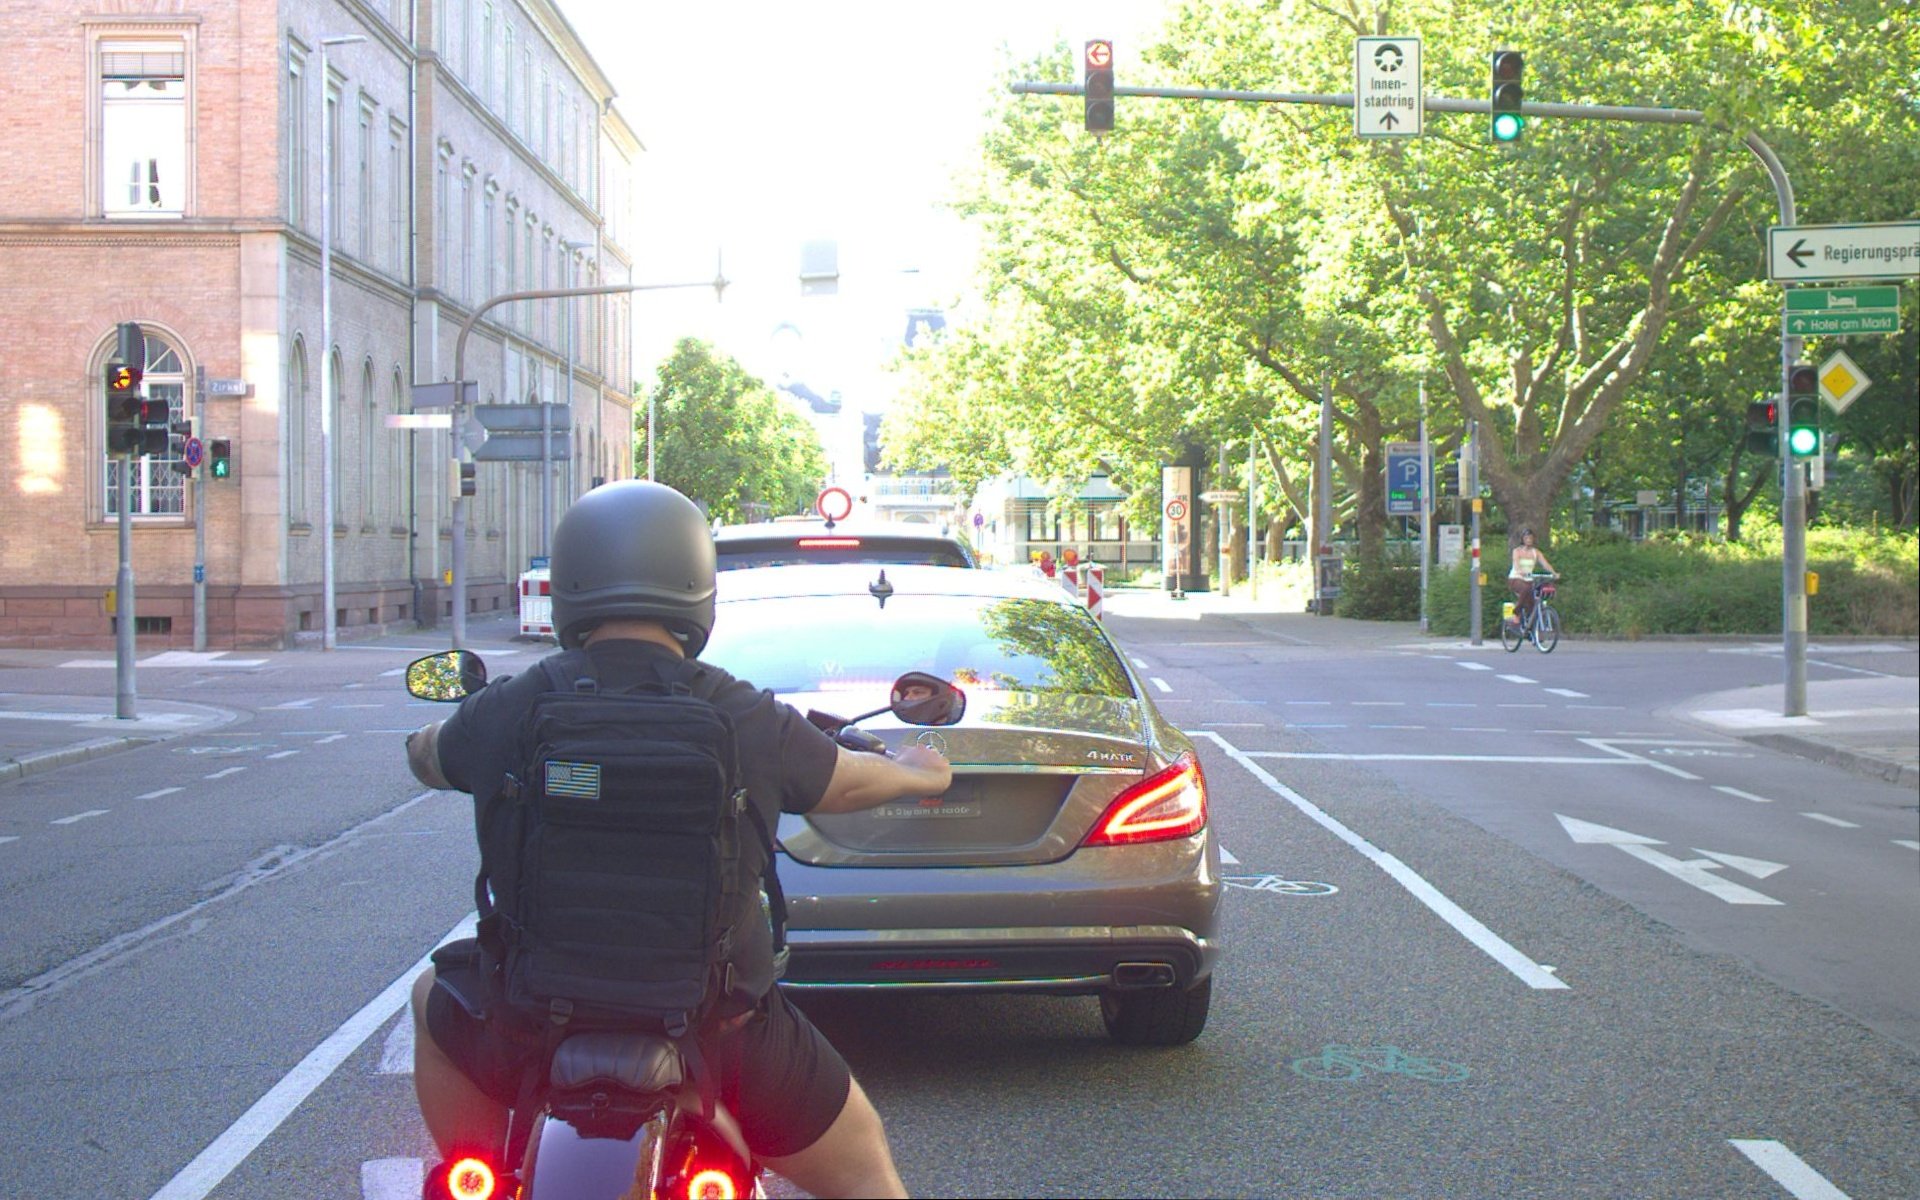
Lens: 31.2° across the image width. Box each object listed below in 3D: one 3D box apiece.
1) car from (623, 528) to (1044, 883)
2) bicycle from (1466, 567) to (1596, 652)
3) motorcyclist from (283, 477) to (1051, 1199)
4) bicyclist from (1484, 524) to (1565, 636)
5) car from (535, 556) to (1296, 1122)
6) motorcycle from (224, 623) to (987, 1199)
[{"bbox_3d":[-0.650,0.419,16.773,1.813,1.530,3.849,0,1,-3],"label":"car"},{"bbox_3d":[8.104,0.124,48.893,0.715,1.168,2.176,1,1,-24],"label":"bicycle"},{"bbox_3d":[-0.419,0.620,5.270,1.061,1.577,0.908,1,0,-1],"label":"motorcyclist"},{"bbox_3d":[8.046,-0.288,49.020,0.716,1.577,0.936,1,0,-24],"label":"bicyclist"},{"bbox_3d":[-0.361,0.587,11.121,1.901,1.436,4.290,0,1,-8],"label":"car"},{"bbox_3d":[-0.469,0.738,5.542,0.962,1.352,2.320,1,1,-1],"label":"motorcycle"}]
